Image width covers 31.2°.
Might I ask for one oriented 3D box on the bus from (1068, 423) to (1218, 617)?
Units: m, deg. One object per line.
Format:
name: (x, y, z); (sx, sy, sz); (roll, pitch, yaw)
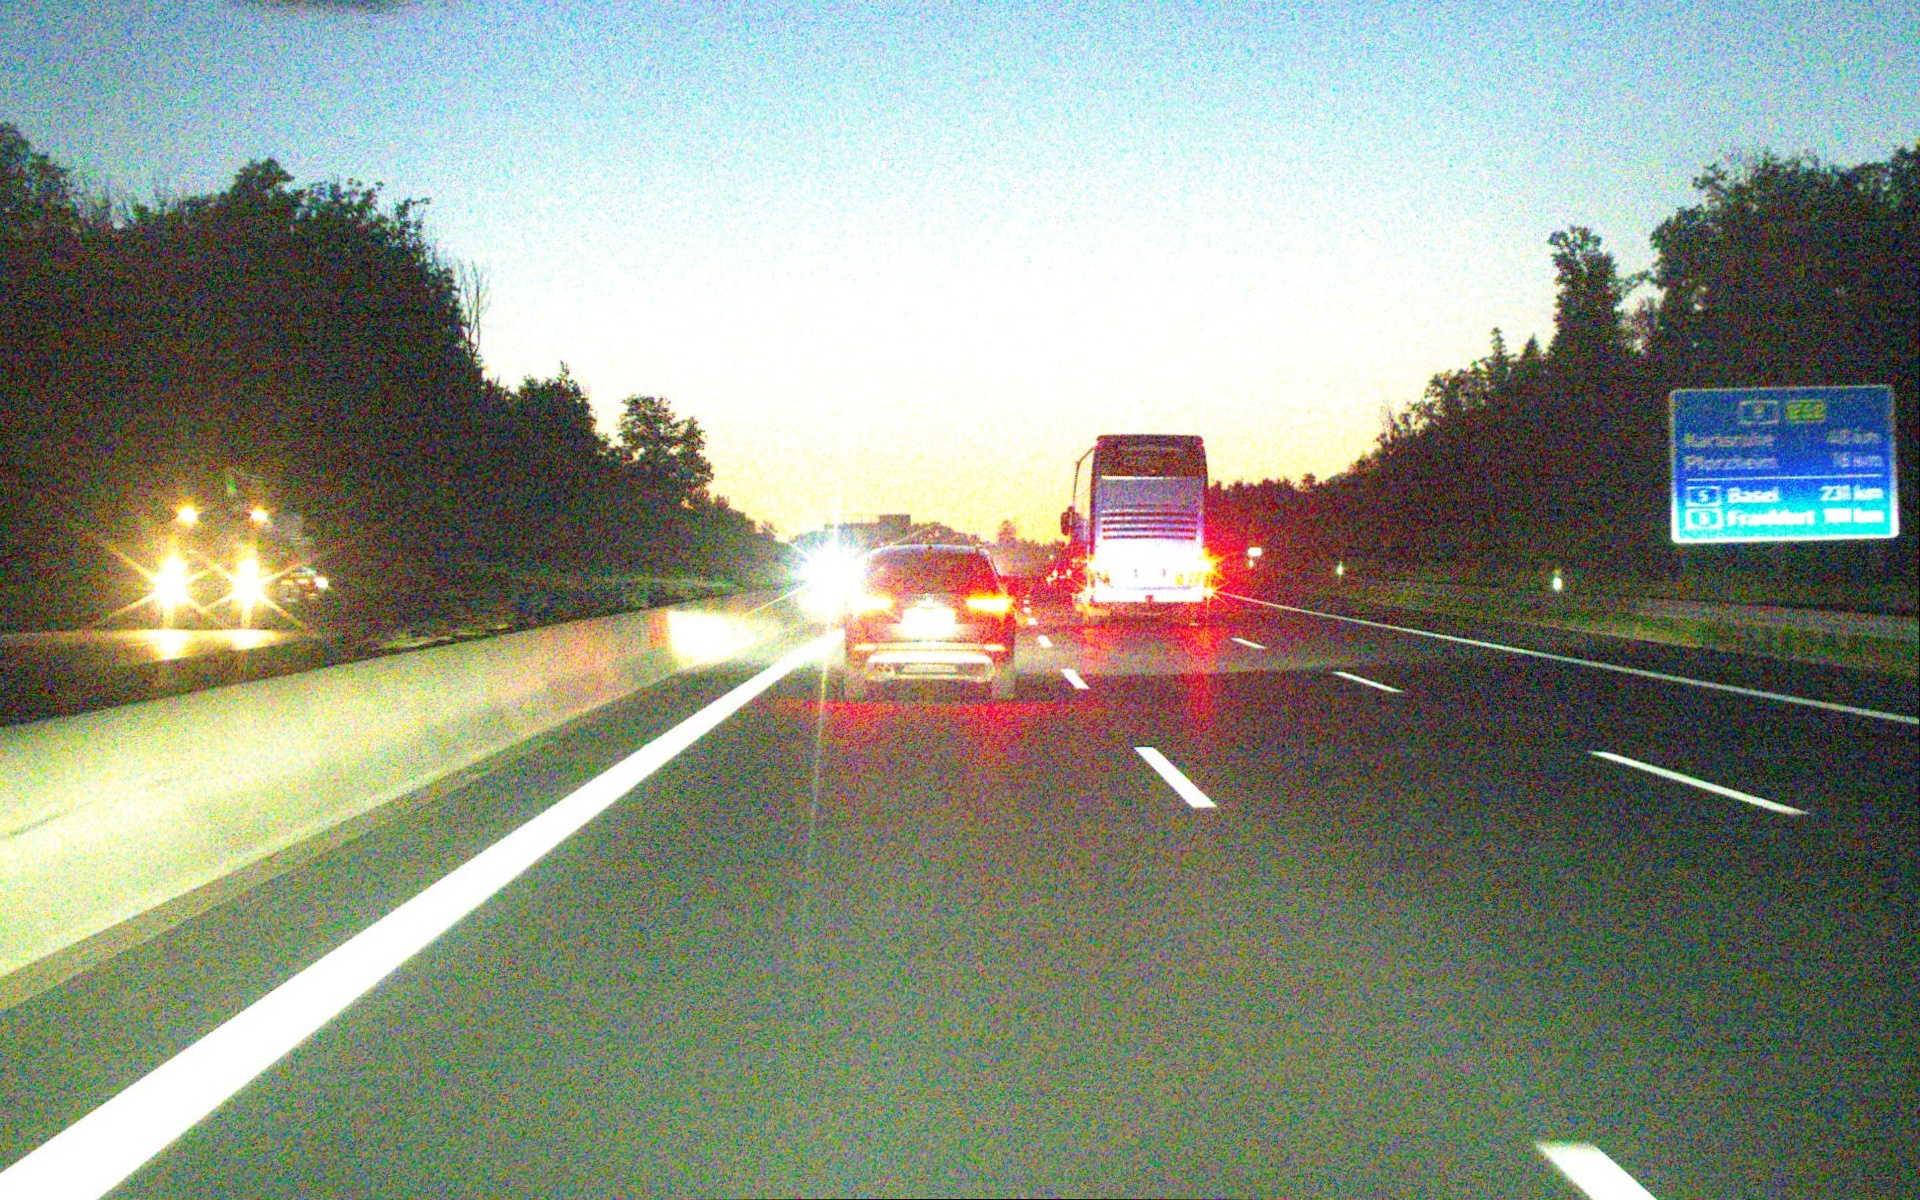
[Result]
bus: (4.055, -1.643, 79.294); (2.652, 3.980, 14.701); (-2, 0, 0)

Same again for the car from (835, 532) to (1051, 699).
car: (-0.216, 0.163, 36.397); (2.105, 1.612, 4.204); (-2, 0, -1)

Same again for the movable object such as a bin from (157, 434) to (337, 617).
movable object such as a bin: (-15.421, -1.598, 74.822); (2.293, 3.756, 7.686); (0, 1, 0)

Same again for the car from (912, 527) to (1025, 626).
car: (0.132, -0.423, 65.808); (1.911, 1.724, 4.000); (3, 0, -2)
